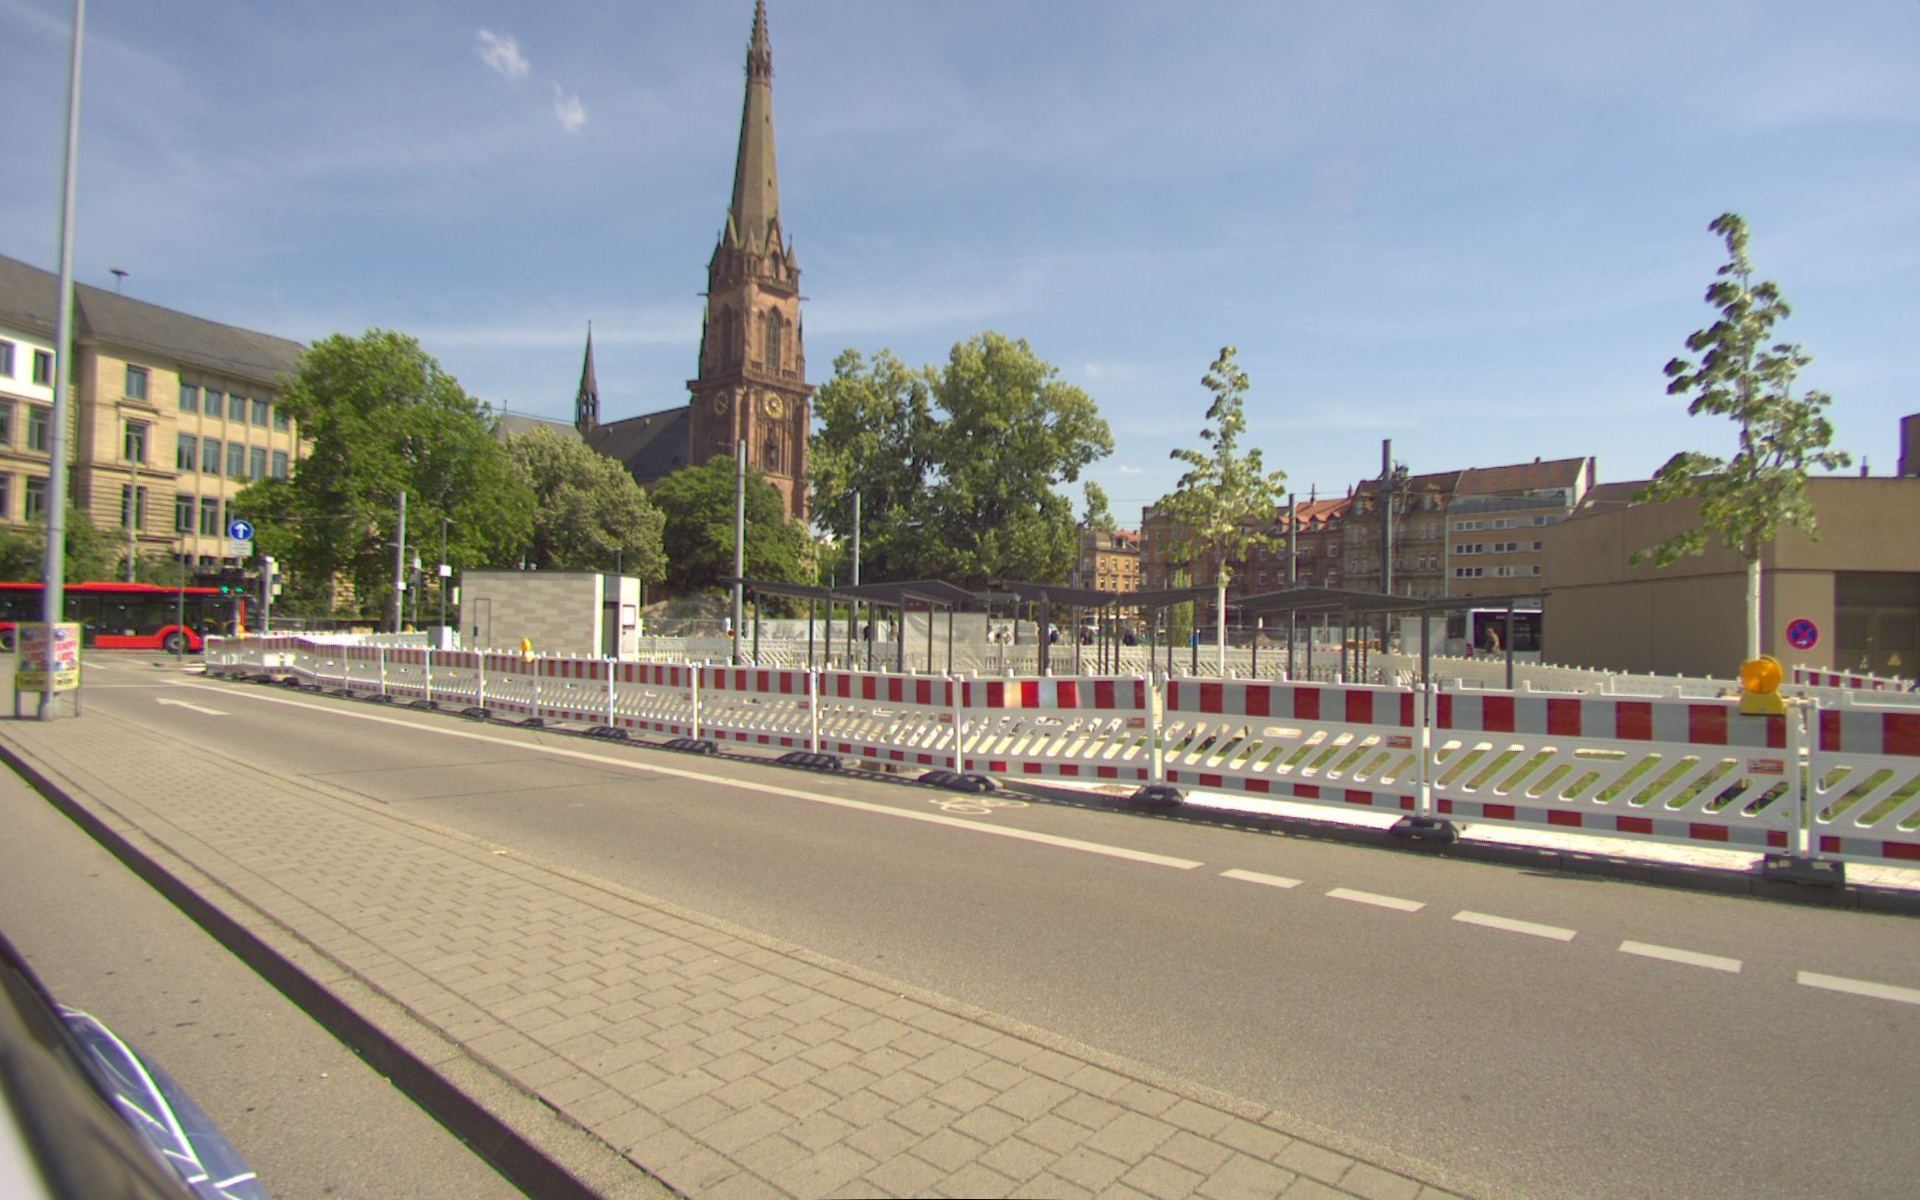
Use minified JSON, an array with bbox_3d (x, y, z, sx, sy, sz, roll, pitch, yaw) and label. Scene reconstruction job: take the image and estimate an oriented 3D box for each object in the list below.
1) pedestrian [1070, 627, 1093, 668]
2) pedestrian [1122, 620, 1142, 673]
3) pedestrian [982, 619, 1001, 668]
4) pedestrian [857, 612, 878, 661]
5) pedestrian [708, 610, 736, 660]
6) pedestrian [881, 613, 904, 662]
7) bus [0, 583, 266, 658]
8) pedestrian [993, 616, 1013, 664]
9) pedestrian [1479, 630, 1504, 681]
[{"bbox_3d":[5.048,1.972,41.972,0.733,1.674,0.822,1,-2,-7],"label":"pedestrian"},{"bbox_3d":[6.727,1.807,39.640,0.680,2.029,0.816,0,-2,16],"label":"pedestrian"},{"bbox_3d":[1.339,1.848,42.724,0.679,2.029,0.818,1,-2,11],"label":"pedestrian"},{"bbox_3d":[-3.913,1.541,42.746,0.678,2.029,0.819,1,-2,7],"label":"pedestrian"},{"bbox_3d":[-9.822,1.457,41.793,0.686,2.029,0.809,-1,-3,43],"label":"pedestrian"},{"bbox_3d":[-2.828,1.577,42.529,0.810,2.029,0.685,1,-2,6],"label":"pedestrian"},{"bbox_3d":[-38.166,0.824,44.535,12.197,3.117,3.144,0,0,-23],"label":"bus"},{"bbox_3d":[1.836,1.704,43.142,0.679,2.029,0.818,1,-2,11],"label":"pedestrian"},{"bbox_3d":[21.331,2.230,40.635,0.722,2.029,0.581,1,-2,5],"label":"pedestrian"}]
